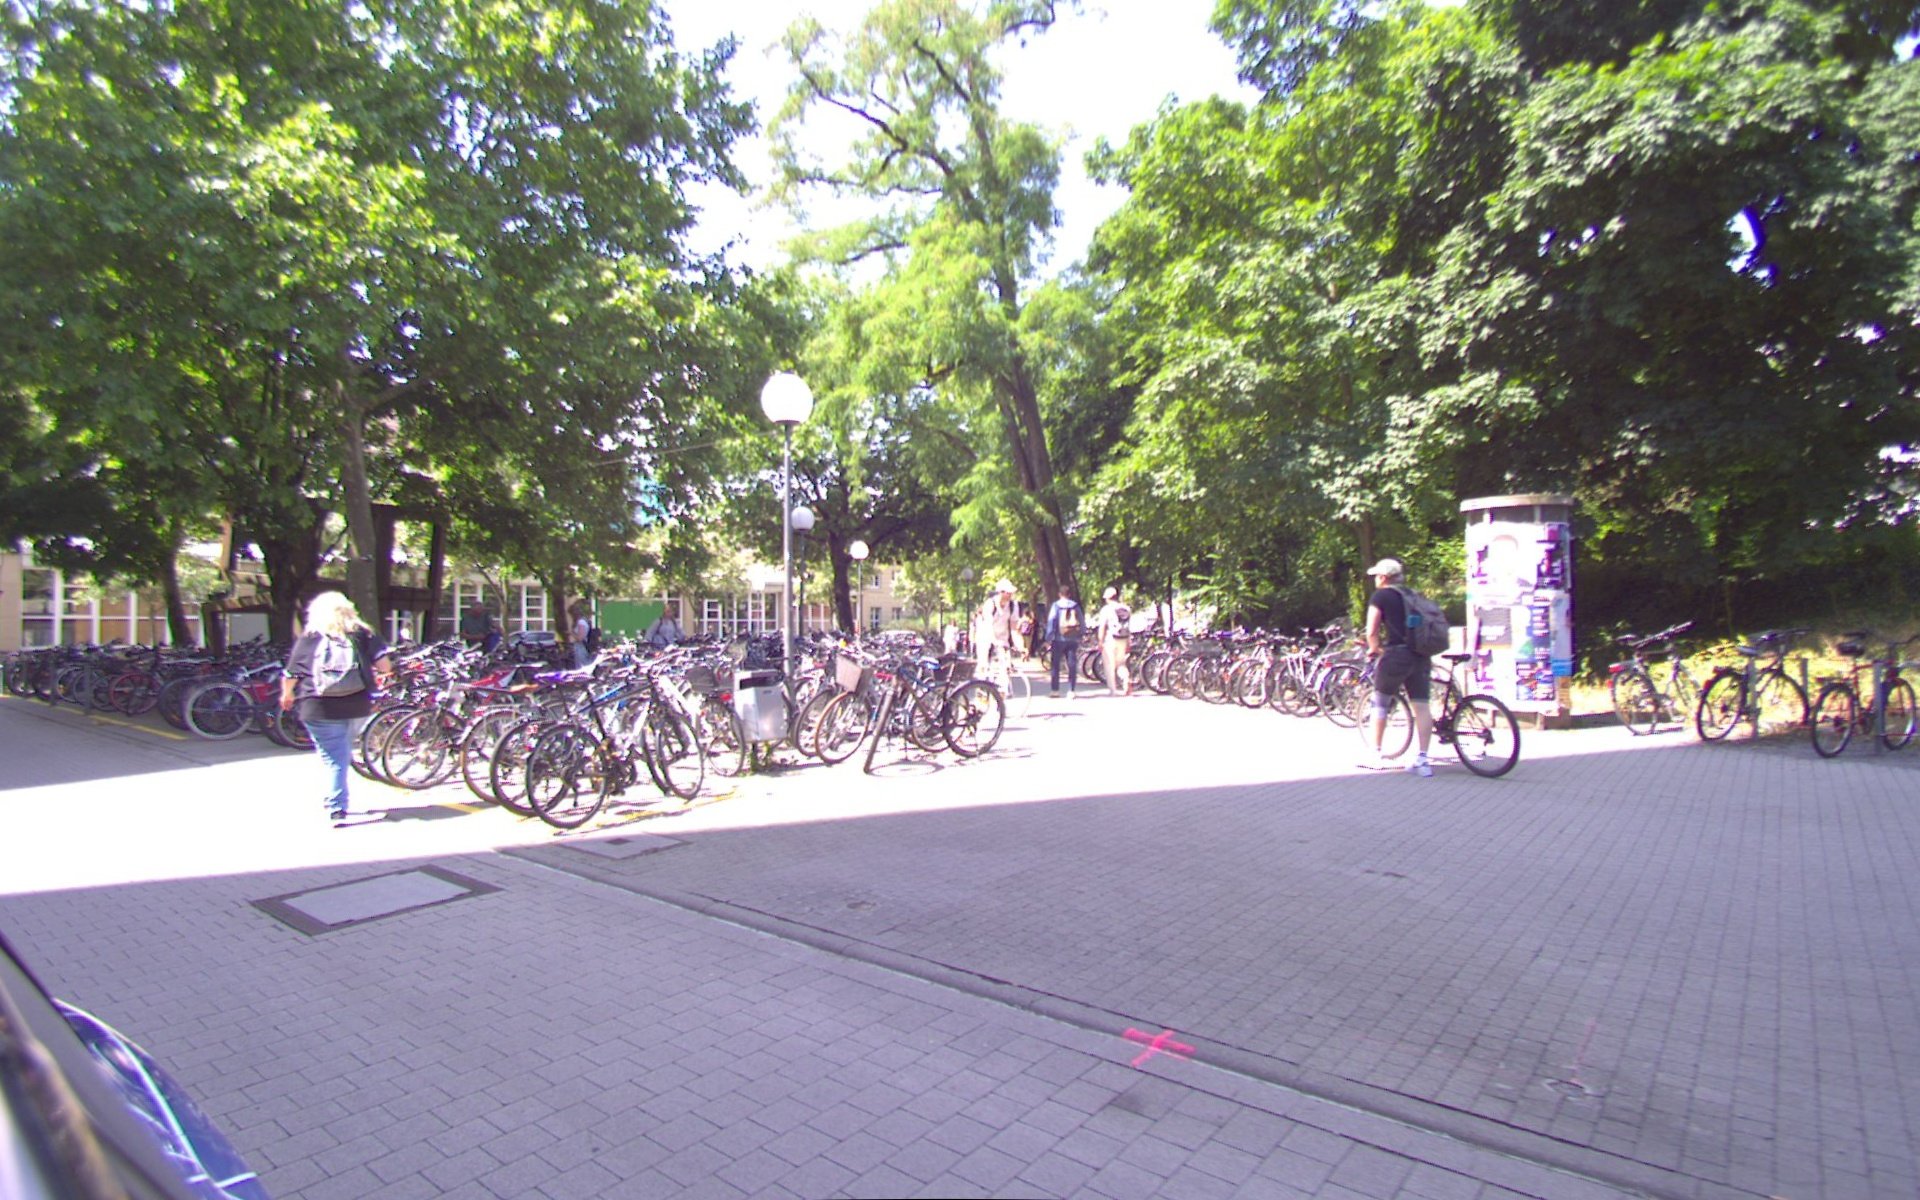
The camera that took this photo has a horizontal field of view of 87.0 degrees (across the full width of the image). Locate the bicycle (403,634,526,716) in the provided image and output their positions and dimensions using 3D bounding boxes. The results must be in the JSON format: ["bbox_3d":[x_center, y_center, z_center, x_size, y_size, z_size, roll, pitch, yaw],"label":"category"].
[{"bbox_3d":[-7.405,1.092,15.208,0.500,1.116,1.683,-2,-1,28],"label":"bicycle"}]

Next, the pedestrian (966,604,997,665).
[{"bbox_3d":[0.610,0.968,28.549,0.760,1.692,0.905,-1,-1,6],"label":"pedestrian"}]

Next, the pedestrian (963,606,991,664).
[{"bbox_3d":[0.524,1.049,30.605,0.760,1.692,0.905,-1,-1,6],"label":"pedestrian"}]

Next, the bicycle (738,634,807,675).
[{"bbox_3d":[-5.249,1.523,28.369,1.834,1.092,0.474,-1,-1,2],"label":"bicycle"}]

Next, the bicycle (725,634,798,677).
[{"bbox_3d":[-5.249,1.473,26.793,1.834,1.092,0.474,-1,-1,2],"label":"bicycle"}]

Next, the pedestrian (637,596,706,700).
[{"bbox_3d":[-4.917,0.814,17.295,0.896,1.716,0.768,-1,-1,7],"label":"pedestrian"}]

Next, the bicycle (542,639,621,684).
[{"bbox_3d":[-9.887,1.604,26.437,1.881,1.116,0.502,-1,-1,2],"label":"bicycle"}]

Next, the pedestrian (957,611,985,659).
[{"bbox_3d":[0.417,1.320,38.086,0.764,1.788,0.900,-2,-1,22],"label":"pedestrian"}]

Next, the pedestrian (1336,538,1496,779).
[{"bbox_3d":[3.732,0.456,8.363,0.603,1.849,1.053,0,-1,-19],"label":"pedestrian"}]

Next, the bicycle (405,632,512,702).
[{"bbox_3d":[-9.159,1.210,18.534,1.671,1.209,0.577,-1,-1,-14],"label":"bicycle"}]

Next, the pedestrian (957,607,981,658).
[{"bbox_3d":[0.323,1.168,36.525,0.607,1.788,0.652,-2,-1,30],"label":"pedestrian"}]

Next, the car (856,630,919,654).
[{"bbox_3d":[-5.011,2.913,70.300,1.835,1.553,4.482,-3,-3,37],"label":"car"}]

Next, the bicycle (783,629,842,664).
[{"bbox_3d":[-4.838,1.513,33.255,1.834,1.092,0.474,-1,-1,2],"label":"bicycle"}]

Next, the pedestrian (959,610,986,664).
[{"bbox_3d":[0.394,1.170,32.122,0.760,1.692,0.905,-1,-1,6],"label":"pedestrian"}]

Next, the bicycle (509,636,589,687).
[{"bbox_3d":[-9.622,1.437,23.746,1.672,1.116,0.504,-1,-1,-10],"label":"bicycle"}]

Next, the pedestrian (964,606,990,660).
[{"bbox_3d":[0.586,1.107,34.036,0.760,1.788,0.905,-1,-1,6],"label":"pedestrian"}]

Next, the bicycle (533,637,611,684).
[{"bbox_3d":[-9.630,1.503,25.133,1.756,1.116,0.502,-1,-1,2],"label":"bicycle"}]

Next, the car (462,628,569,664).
[{"bbox_3d":[-21.766,2.201,49.690,1.835,1.630,4.482,-1,-1,37],"label":"car"}]

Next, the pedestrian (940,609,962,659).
[{"bbox_3d":[-0.316,1.234,36.893,0.501,1.784,0.663,-2,-1,32],"label":"pedestrian"}]

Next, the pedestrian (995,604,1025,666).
[{"bbox_3d":[1.414,0.973,28.488,0.760,1.692,0.905,-1,-1,6],"label":"pedestrian"}]

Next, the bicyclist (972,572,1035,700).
[{"bbox_3d":[0.545,0.448,12.987,0.585,1.580,0.724,-1,-1,-15],"label":"bicyclist"}]

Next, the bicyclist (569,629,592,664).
[{"bbox_3d":[-17.062,2.067,45.508,0.605,1.546,0.718,0,-1,41],"label":"bicyclist"}]

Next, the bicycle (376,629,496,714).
[{"bbox_3d":[-8.193,1.086,15.889,0.500,1.229,1.683,-2,-1,28],"label":"bicycle"}]

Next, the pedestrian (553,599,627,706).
[{"bbox_3d":[-6.123,0.847,16.744,0.770,1.716,0.894,-2,-2,44],"label":"pedestrian"}]

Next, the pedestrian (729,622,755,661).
[{"bbox_3d":[-9.734,1.858,45.152,0.726,1.697,0.863,-3,-3,36],"label":"pedestrian"}]

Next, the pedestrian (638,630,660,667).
[{"bbox_3d":[-13.370,2.089,43.501,0.565,1.531,0.838,-2,-1,11],"label":"pedestrian"}]

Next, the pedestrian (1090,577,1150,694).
[{"bbox_3d":[2.581,0.567,16.434,0.759,1.817,0.984,-1,-1,0],"label":"pedestrian"}]

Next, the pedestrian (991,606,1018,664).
[{"bbox_3d":[1.406,1.102,32.037,0.760,1.788,0.905,-1,-1,6],"label":"pedestrian"}]

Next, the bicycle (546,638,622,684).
[{"bbox_3d":[-9.588,1.552,25.855,1.756,1.116,0.502,-1,-1,2],"label":"bicycle"}]

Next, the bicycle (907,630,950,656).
[{"bbox_3d":[-1.402,1.907,44.654,1.837,1.092,0.473,-1,-1,8],"label":"bicycle"}]

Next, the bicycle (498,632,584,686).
[{"bbox_3d":[-9.320,1.304,22.567,1.672,1.116,0.633,-1,-1,-10],"label":"bicycle"}]

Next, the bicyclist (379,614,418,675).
[{"bbox_3d":[-19.039,1.496,34.331,0.792,1.905,0.870,-3,6,-11],"label":"bicyclist"}]

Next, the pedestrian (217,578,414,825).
[{"bbox_3d":[-4.661,0.706,7.369,0.896,1.692,0.768,-1,0,7],"label":"pedestrian"}]

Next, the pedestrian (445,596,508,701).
[{"bbox_3d":[-8.589,0.853,17.985,0.701,1.820,0.768,-1,-1,6],"label":"pedestrian"}]

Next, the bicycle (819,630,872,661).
[{"bbox_3d":[-4.155,1.648,36.811,1.834,1.092,0.474,-1,-1,2],"label":"bicycle"}]

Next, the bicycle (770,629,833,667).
[{"bbox_3d":[-4.830,1.460,30.923,1.834,1.092,0.474,-1,-1,2],"label":"bicycle"}]

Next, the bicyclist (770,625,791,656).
[{"bbox_3d":[-9.518,2.140,53.611,0.639,1.585,0.864,-1,-2,36],"label":"bicyclist"}]

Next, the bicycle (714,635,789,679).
[{"bbox_3d":[-5.398,1.478,26.241,1.834,1.092,0.474,-1,-1,2],"label":"bicycle"}]

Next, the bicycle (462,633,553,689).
[{"bbox_3d":[-9.548,1.278,21.379,1.672,1.116,0.504,-1,-1,-10],"label":"bicycle"}]

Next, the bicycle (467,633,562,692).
[{"bbox_3d":[-8.873,1.234,20.224,1.671,1.116,0.504,-1,-1,-14],"label":"bicycle"}]

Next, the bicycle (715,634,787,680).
[{"bbox_3d":[-5.167,1.408,25.030,1.677,1.092,0.474,-1,-1,2],"label":"bicycle"}]

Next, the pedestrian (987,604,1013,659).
[{"bbox_3d":[1.312,1.035,33.354,0.760,1.788,0.905,-1,-1,6],"label":"pedestrian"}]

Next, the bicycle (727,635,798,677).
[{"bbox_3d":[-5.357,1.509,27.508,1.834,1.092,0.474,-1,-1,2],"label":"bicycle"}]

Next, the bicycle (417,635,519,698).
[{"bbox_3d":[-9.281,1.246,19.143,1.671,1.116,0.504,-1,-1,-14],"label":"bicycle"}]

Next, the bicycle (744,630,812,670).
[{"bbox_3d":[-5.193,1.413,28.897,1.834,1.092,0.474,-1,-1,2],"label":"bicycle"}]

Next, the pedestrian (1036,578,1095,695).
[{"bbox_3d":[1.696,0.589,16.420,0.823,1.829,0.882,-1,-1,1],"label":"pedestrian"}]
